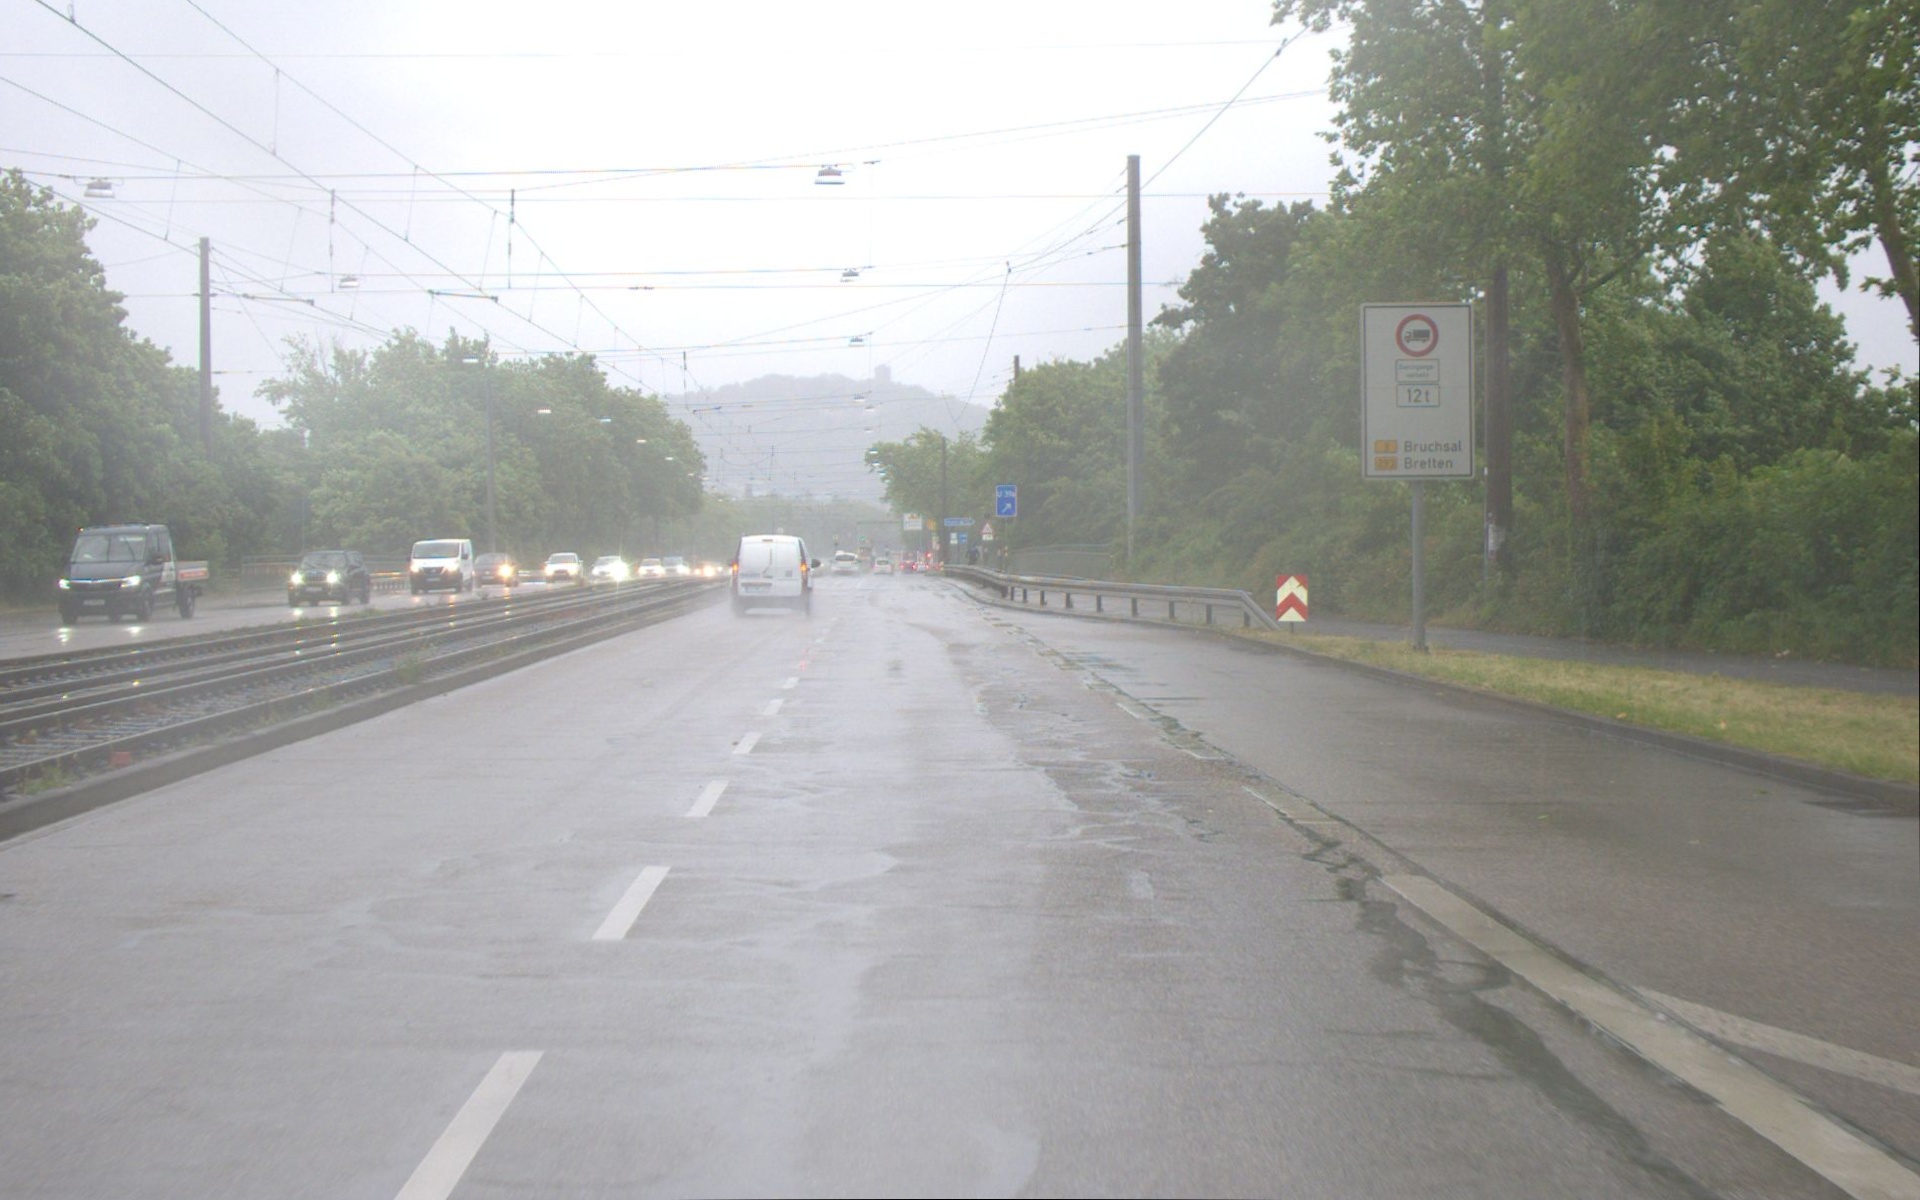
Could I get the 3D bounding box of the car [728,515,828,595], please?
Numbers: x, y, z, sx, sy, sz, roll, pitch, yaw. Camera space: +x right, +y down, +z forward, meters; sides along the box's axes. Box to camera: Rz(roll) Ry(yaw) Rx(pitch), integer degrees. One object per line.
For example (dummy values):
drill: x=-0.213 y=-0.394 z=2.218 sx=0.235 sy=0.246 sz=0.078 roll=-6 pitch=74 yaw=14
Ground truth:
car: x=-4.045 y=-1.026 z=76.996 sx=1.989 sy=1.678 sz=3.740 roll=1 pitch=2 yaw=0

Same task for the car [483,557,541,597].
car: x=-18.827 y=-0.992 z=144.533 sx=1.689 sy=1.514 sz=4.611 roll=1 pitch=2 yaw=2

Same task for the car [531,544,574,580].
car: x=-20.637 y=-1.952 z=174.242 sx=1.754 sy=1.705 sz=4.001 roll=1 pitch=2 yaw=-2

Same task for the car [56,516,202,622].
car: x=-19.940 y=-0.791 z=82.831 sx=2.099 sy=2.335 sz=6.991 roll=1 pitch=2 yaw=-3

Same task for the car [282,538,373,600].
car: x=-18.964 y=-0.958 z=103.218 sx=1.841 sy=1.711 sz=4.163 roll=1 pitch=2 yaw=2

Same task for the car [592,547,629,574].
car: x=-20.529 y=-2.313 z=202.033 sx=1.797 sy=1.448 sz=4.195 roll=1 pitch=2 yaw=-1

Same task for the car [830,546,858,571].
car: x=-7.500 y=-2.696 z=223.035 sx=1.743 sy=1.503 sz=3.700 roll=1 pitch=2 yaw=-2

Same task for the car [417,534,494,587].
car: x=-18.602 y=-1.478 z=126.892 sx=2.040 sy=1.769 sz=4.986 roll=1 pitch=2 yaw=0
